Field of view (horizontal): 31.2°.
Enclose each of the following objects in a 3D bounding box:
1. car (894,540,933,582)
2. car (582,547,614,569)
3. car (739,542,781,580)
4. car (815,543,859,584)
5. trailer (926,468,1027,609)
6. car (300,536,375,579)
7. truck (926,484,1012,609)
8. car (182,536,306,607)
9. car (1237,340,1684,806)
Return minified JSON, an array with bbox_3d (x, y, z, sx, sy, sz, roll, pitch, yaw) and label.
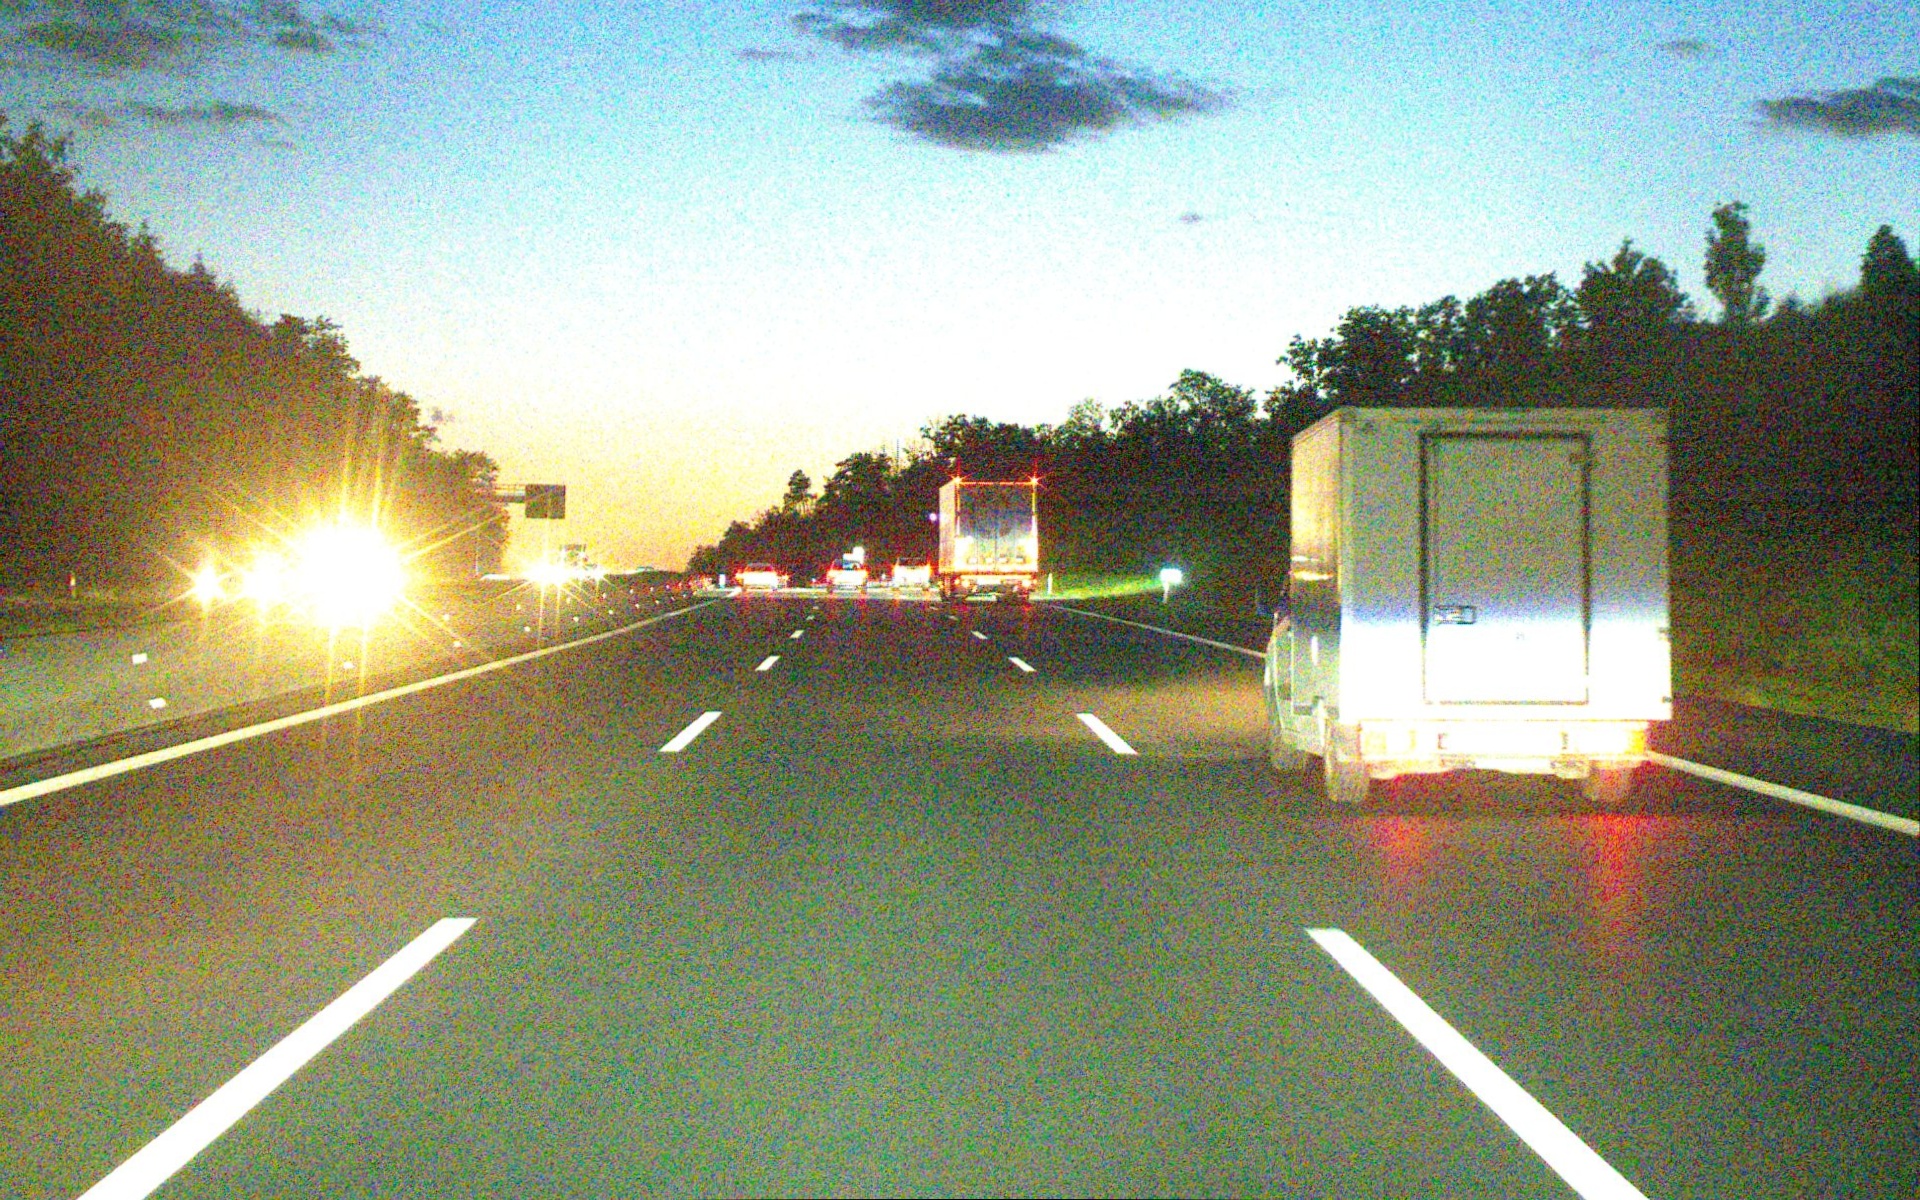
[{"bbox_3d":[-2.454,-2.009,179.076,1.993,2.110,4.000,0,-1,-1],"label":"car"},{"bbox_3d":[-26.925,-3.102,255.824,2.244,1.592,4.888,0,1,-4],"label":"car"},{"bbox_3d":[-9.999,-1.956,171.659,1.993,1.788,4.000,0,-1,-4],"label":"car"},{"bbox_3d":[-5.626,-1.650,157.642,1.993,1.788,4.000,0,-1,-2],"label":"car"},{"bbox_3d":[0.429,-1.900,116.022,2.829,4.242,17.049,0,-1,-2],"label":"trailer"},{"bbox_3d":[-24.376,-1.667,134.788,2.244,1.663,4.888,0,1,-2],"label":"car"},{"bbox_3d":[0.280,-1.832,121.420,2.829,4.242,6.263,0,-1,-2],"label":"truck"},{"bbox_3d":[-17.585,-0.717,84.663,2.244,1.663,4.890,0,1,-2],"label":"car"},{"bbox_3d":[3.076,-0.191,22.402,2.032,2.638,5.725,0,1,0],"label":"car"}]
